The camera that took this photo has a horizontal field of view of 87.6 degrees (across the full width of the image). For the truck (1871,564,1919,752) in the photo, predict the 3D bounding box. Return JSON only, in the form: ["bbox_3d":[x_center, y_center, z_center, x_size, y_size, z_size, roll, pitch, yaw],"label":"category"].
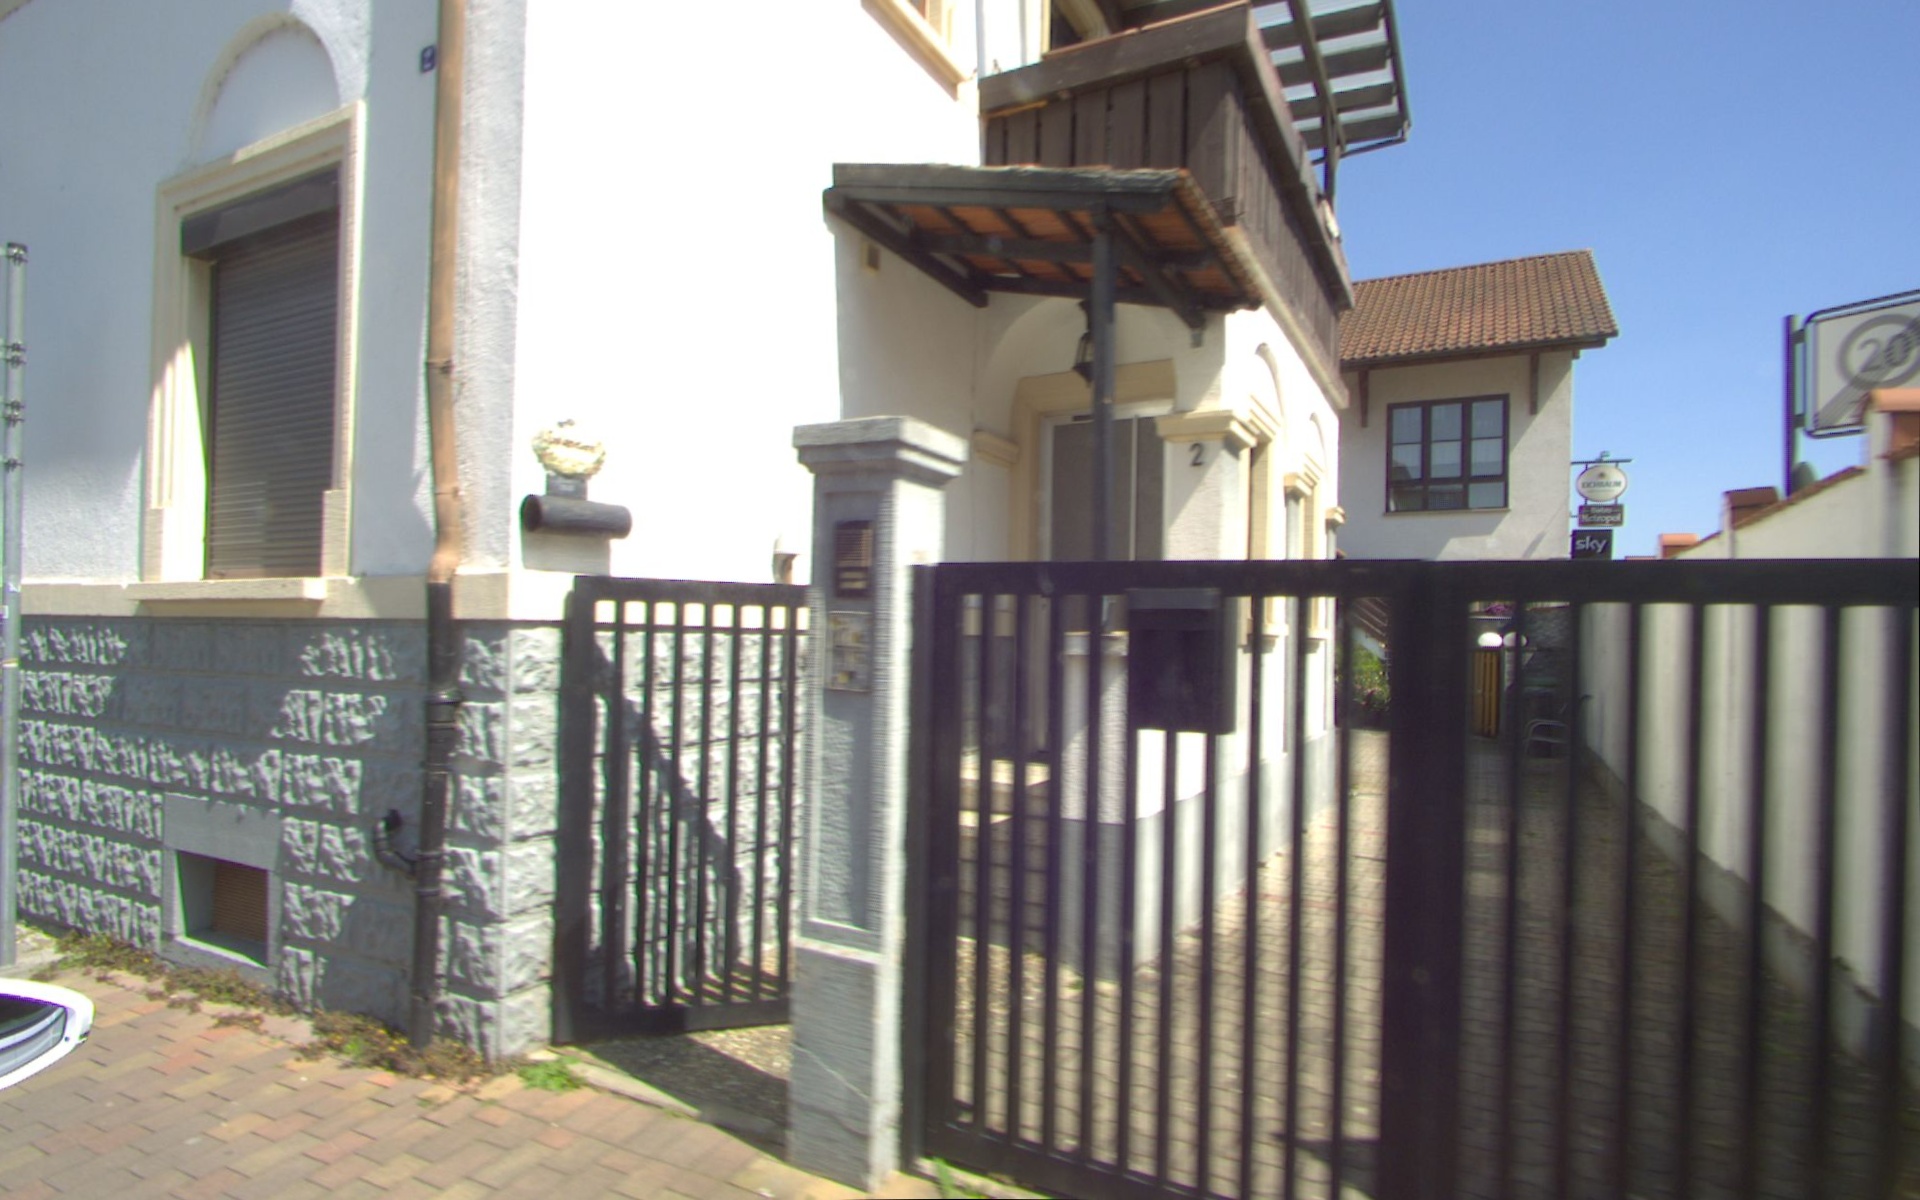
[{"bbox_3d":[16.397,0.911,15.191,2.507,3.043,6.380,0,-2,30],"label":"truck"}]
